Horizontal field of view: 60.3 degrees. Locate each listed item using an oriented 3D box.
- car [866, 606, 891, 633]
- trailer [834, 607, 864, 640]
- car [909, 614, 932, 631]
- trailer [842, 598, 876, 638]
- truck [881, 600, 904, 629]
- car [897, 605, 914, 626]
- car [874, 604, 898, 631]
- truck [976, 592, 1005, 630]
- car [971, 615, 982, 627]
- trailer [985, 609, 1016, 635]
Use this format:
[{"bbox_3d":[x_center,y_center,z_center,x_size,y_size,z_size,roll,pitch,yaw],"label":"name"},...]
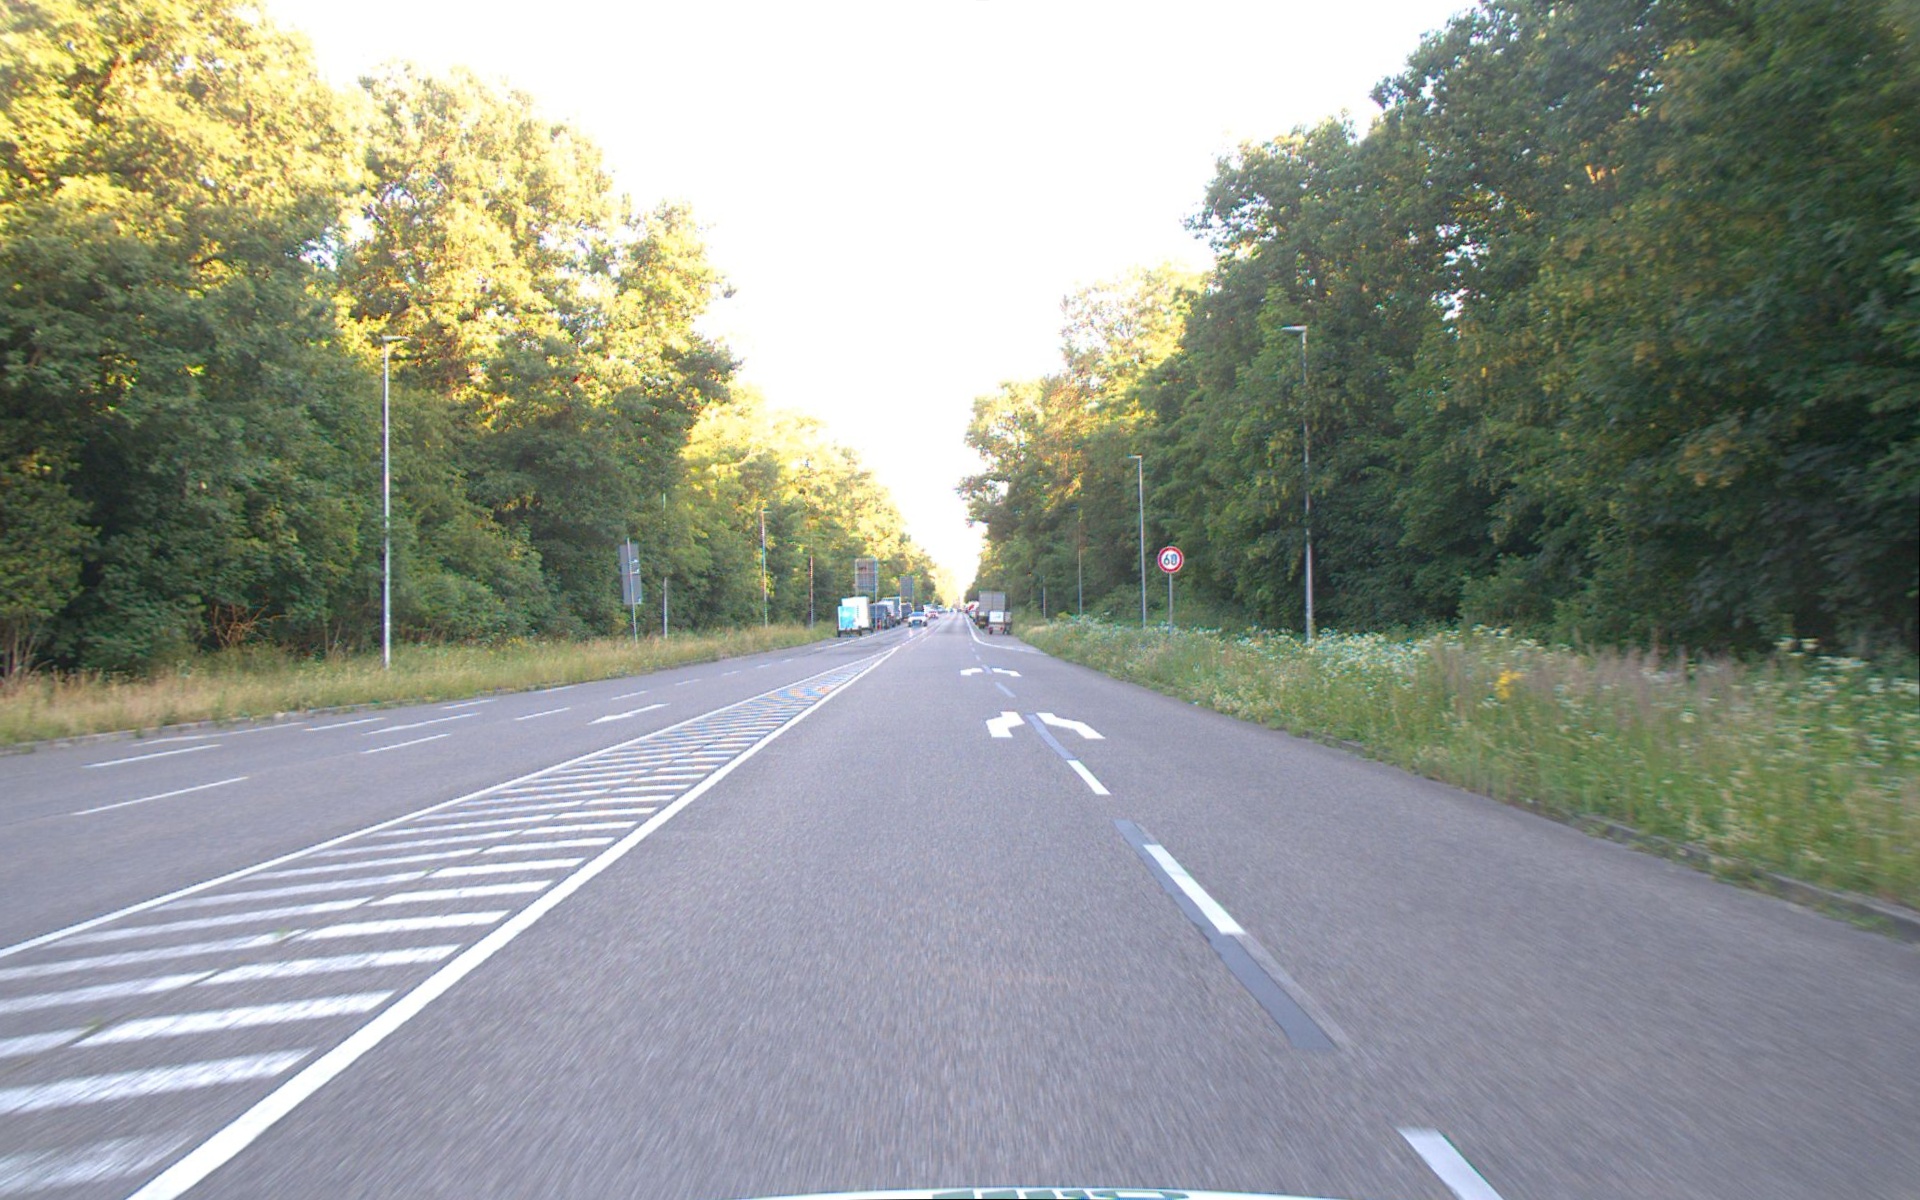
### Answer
[{"bbox_3d":[-7.682,1.841,156.640,1.953,2.405,5.765,-4,0,0],"label":"car"},{"bbox_3d":[-7.744,1.618,115.566,1.780,2.205,4.142,-2,0,-1],"label":"trailer"},{"bbox_3d":[-4.004,2.294,168.849,2.021,1.460,4.467,-3,0,2],"label":"car"},{"bbox_3d":[-7.977,1.401,131.179,2.279,2.975,5.626,-3,0,-1],"label":"trailer"},{"bbox_3d":[-8.150,1.708,199.609,2.453,3.387,6.841,-2,0,0],"label":"truck"},{"bbox_3d":[-7.643,2.148,234.252,2.142,2.837,5.333,-2,0,0],"label":"car"},{"bbox_3d":[-7.782,1.854,174.034,2.203,2.694,5.720,-2,0,0],"label":"car"},{"bbox_3d":[2.768,1.039,147.809,2.535,3.312,7.221,0,-1,1],"label":"truck"},{"bbox_3d":[2.227,2.803,220.734,1.126,1.271,2.753,-11,1,-2],"label":"car"},{"bbox_3d":[2.830,1.519,115.207,1.425,1.691,3.780,-2,-1,13],"label":"trailer"}]
